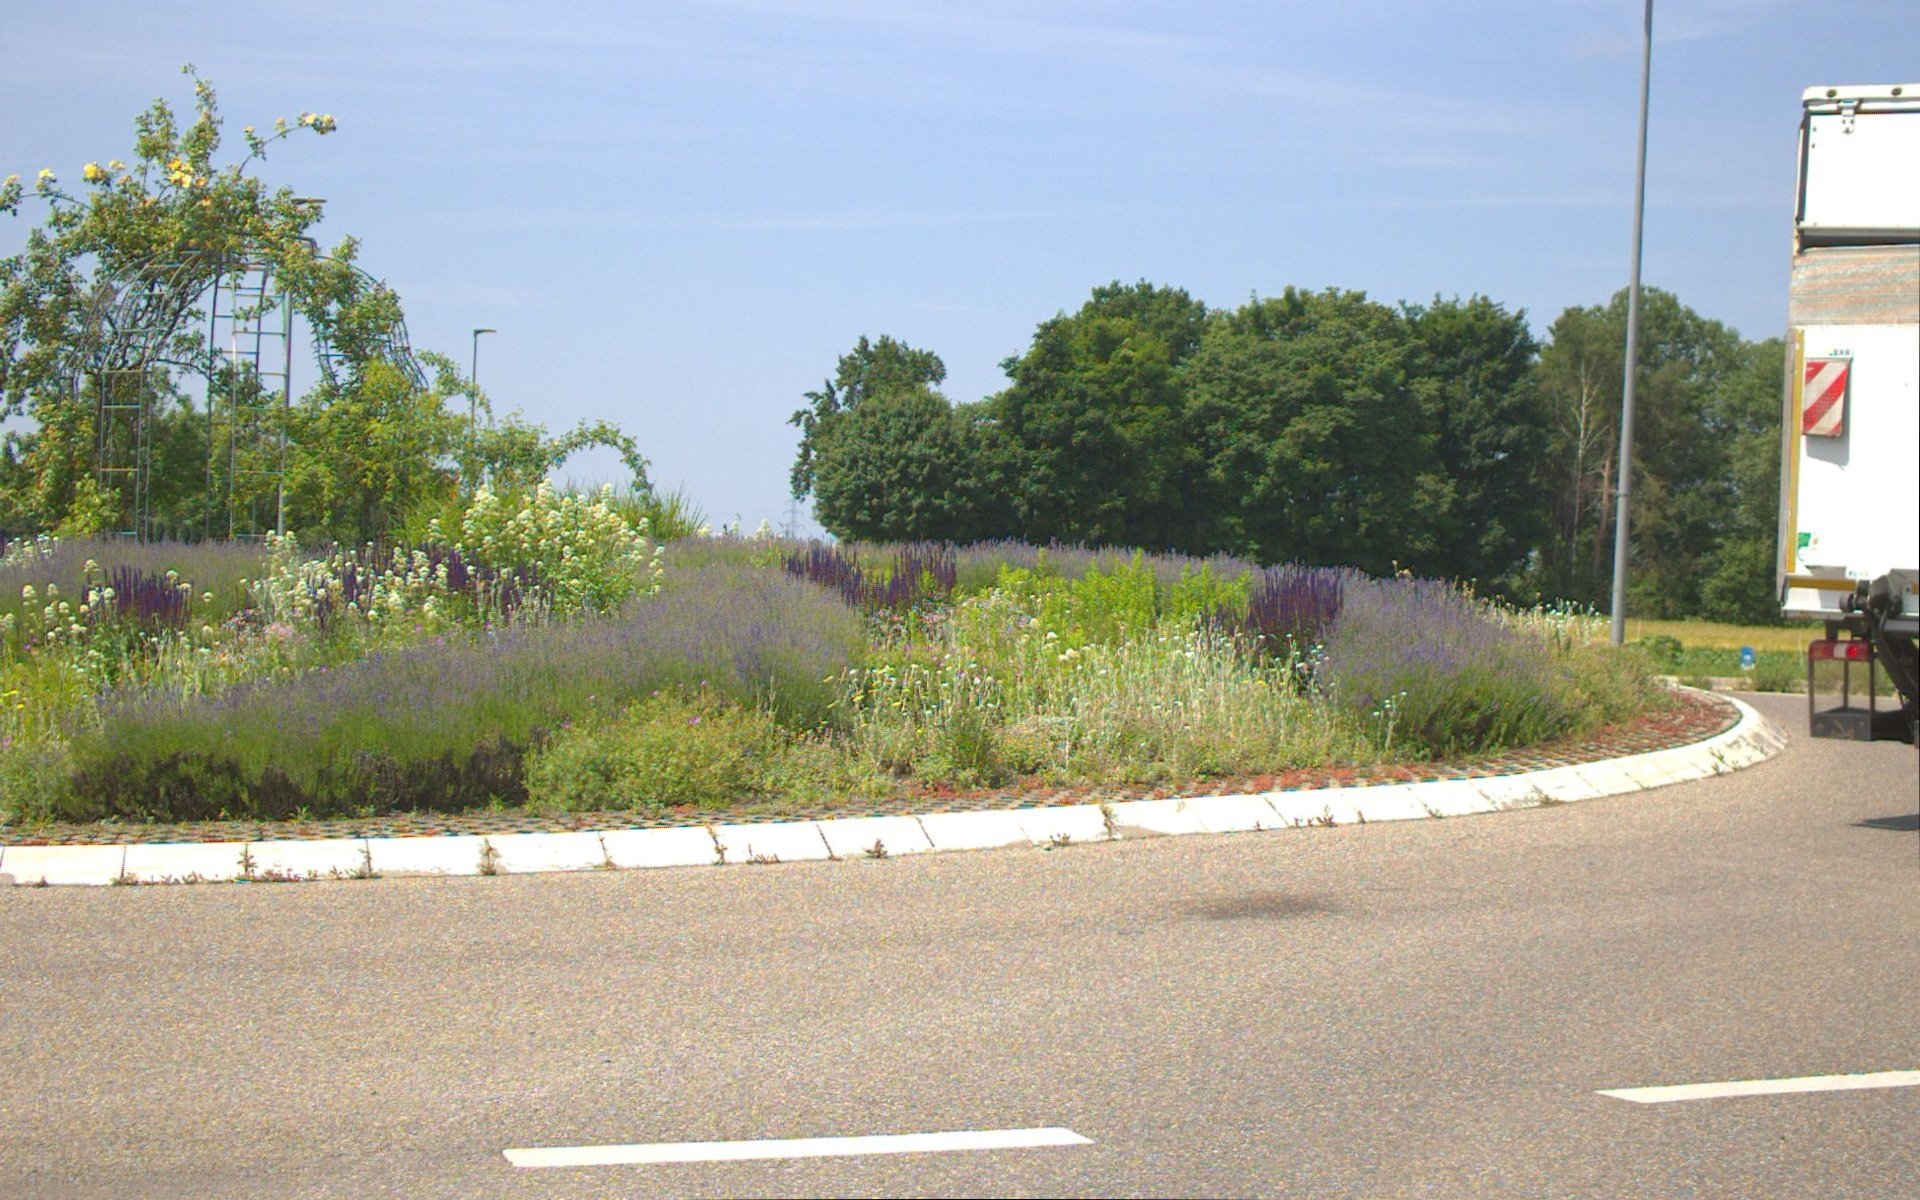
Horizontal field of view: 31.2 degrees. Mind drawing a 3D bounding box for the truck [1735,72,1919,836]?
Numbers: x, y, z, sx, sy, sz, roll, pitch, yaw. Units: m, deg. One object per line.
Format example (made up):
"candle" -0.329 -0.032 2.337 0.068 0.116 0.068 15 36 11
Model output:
"truck" 8.224 -0.672 19.472 9.357 3.658 2.774 0 3 -45
